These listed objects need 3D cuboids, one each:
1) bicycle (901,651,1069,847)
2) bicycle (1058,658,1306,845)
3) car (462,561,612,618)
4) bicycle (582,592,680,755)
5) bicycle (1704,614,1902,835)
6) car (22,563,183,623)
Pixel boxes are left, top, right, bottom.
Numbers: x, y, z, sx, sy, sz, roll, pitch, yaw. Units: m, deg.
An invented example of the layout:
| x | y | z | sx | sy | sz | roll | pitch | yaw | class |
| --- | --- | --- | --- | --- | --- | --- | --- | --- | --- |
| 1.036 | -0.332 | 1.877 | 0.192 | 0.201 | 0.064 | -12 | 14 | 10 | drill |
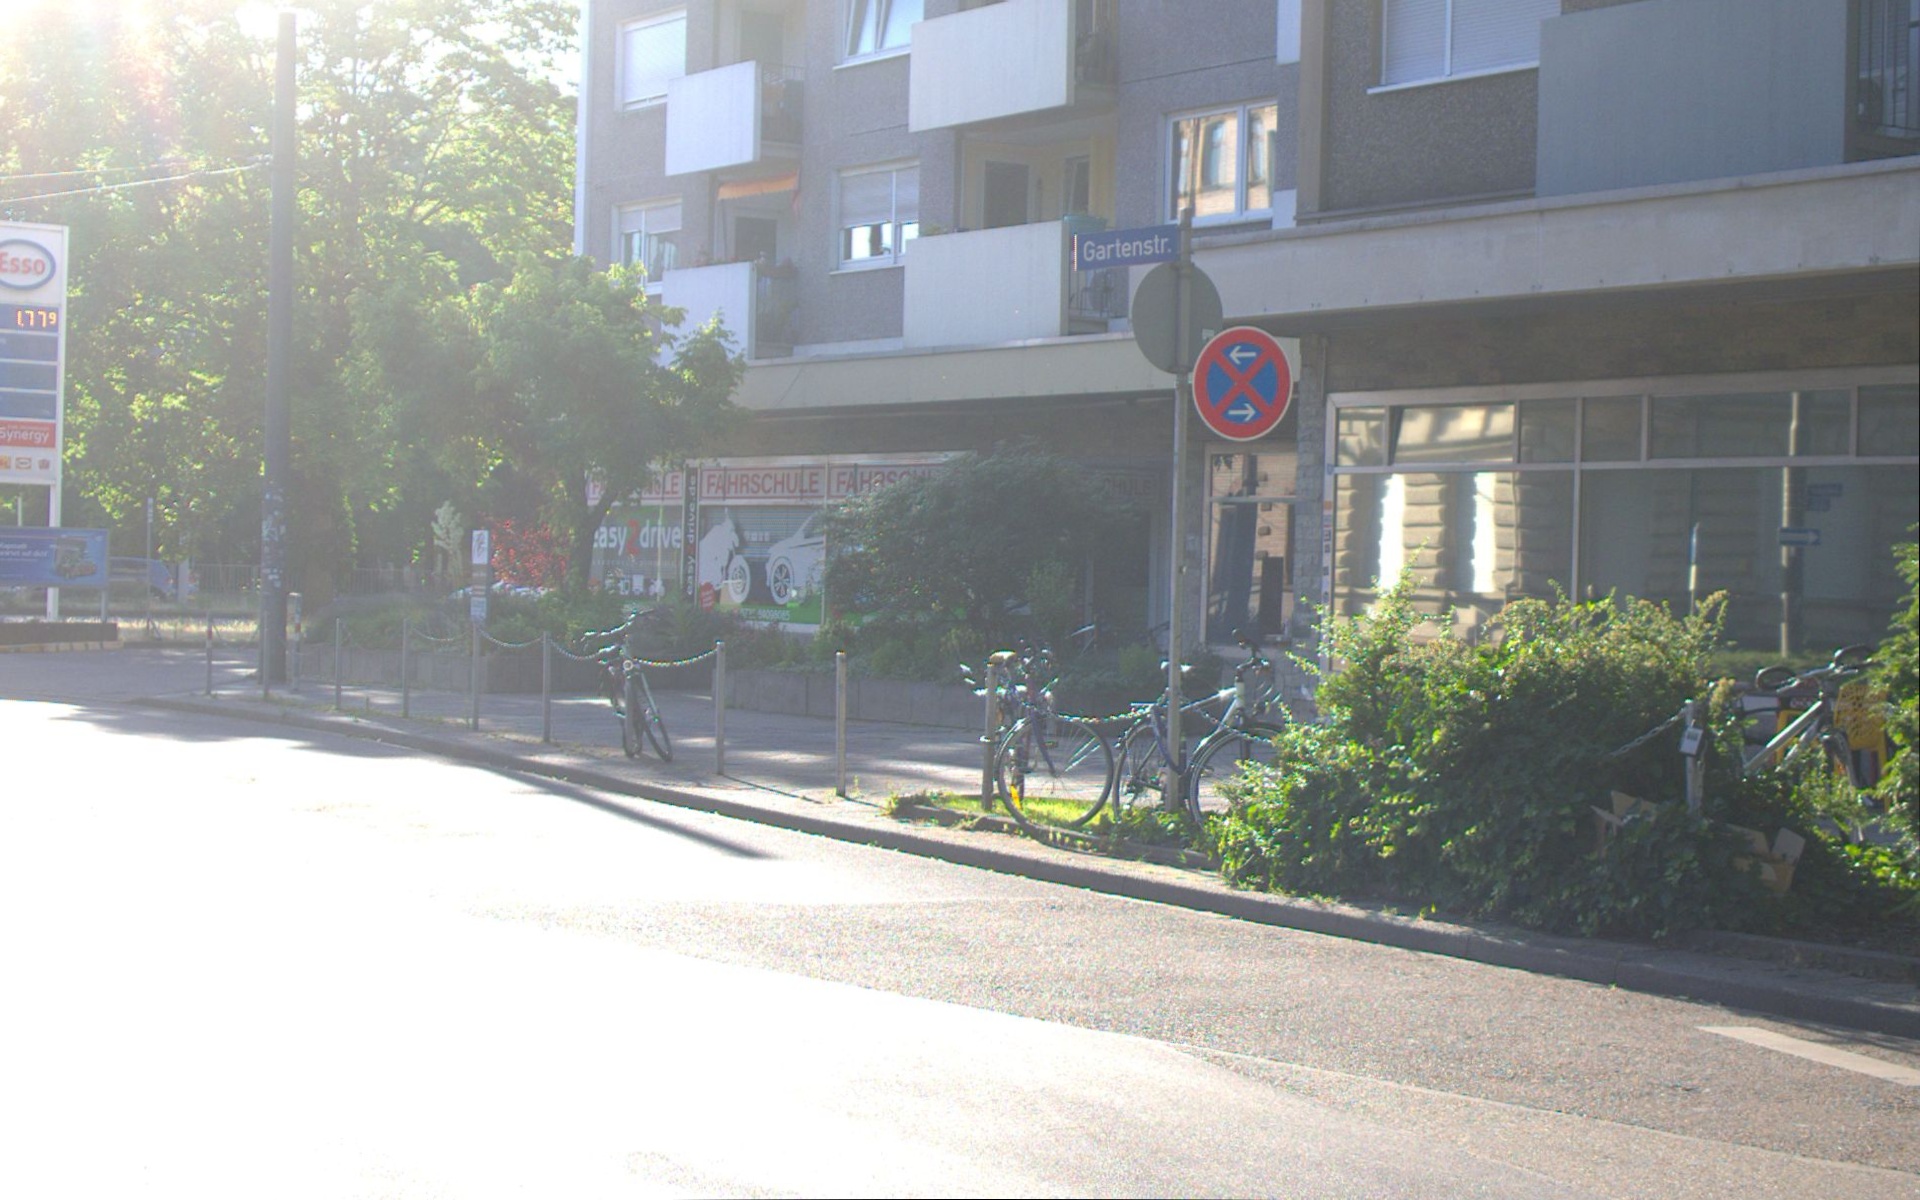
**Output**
| x | y | z | sx | sy | sz | roll | pitch | yaw | class |
| --- | --- | --- | --- | --- | --- | --- | --- | --- | --- |
| 0.120 | 0.838 | 19.974 | 0.638 | 1.019 | 2.089 | 1 | 0 | -9 | bicycle |
| 1.165 | 0.788 | 18.423 | 0.542 | 0.901 | 1.736 | 1 | 0 | -25 | bicycle |
| -11.952 | -0.302 | 97.108 | 3.985 | 1.502 | 1.673 | 1 | 0 | -15 | car |
| -2.637 | 0.562 | 27.368 | 0.638 | 1.222 | 2.089 | 1 | 0 | -9 | bicycle |
| 4.162 | 0.600 | 17.017 | 0.348 | 1.034 | 1.053 | 1 | 1 | -26 | bicycle |
| -22.226 | -0.179 | 89.092 | 3.985 | 1.448 | 1.810 | 1 | 0 | -15 | car |
